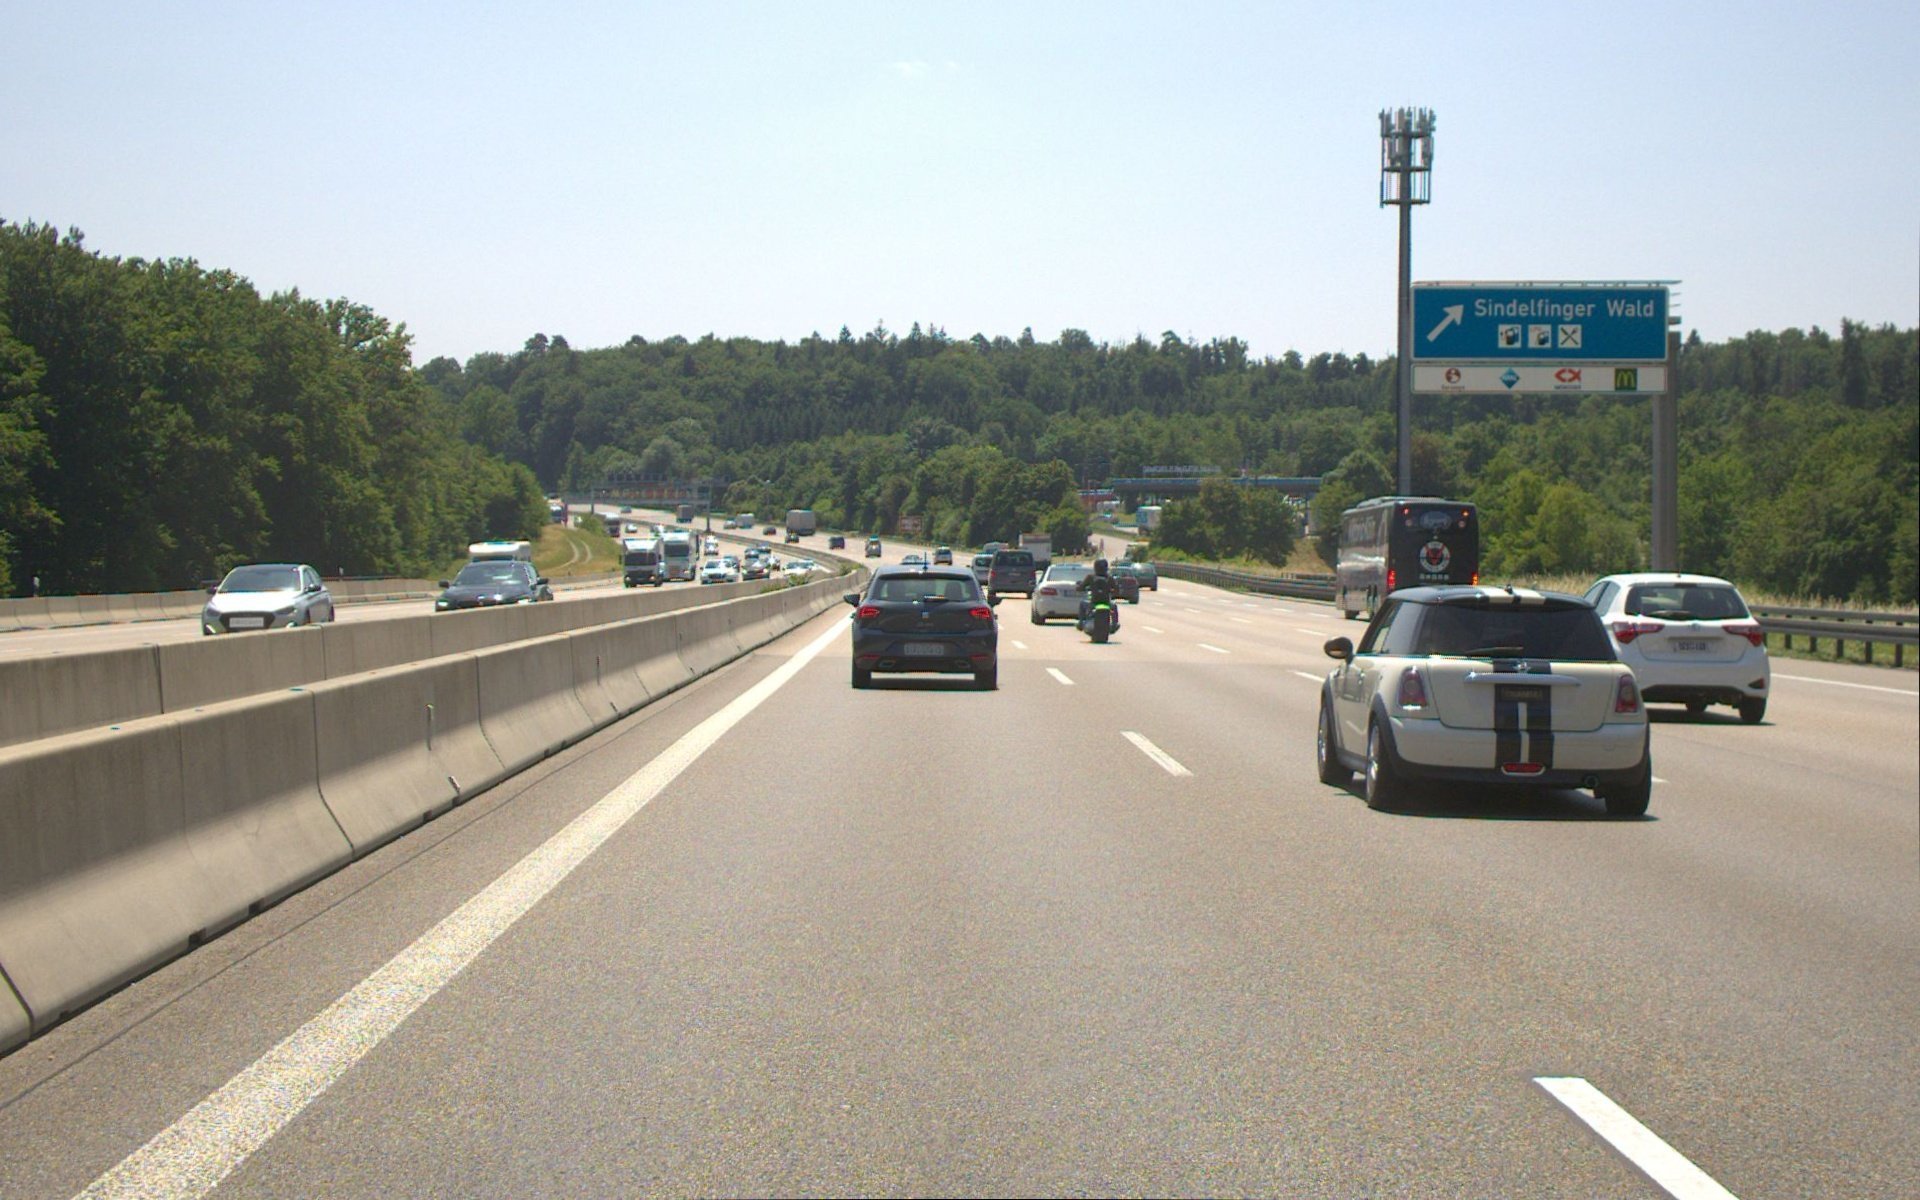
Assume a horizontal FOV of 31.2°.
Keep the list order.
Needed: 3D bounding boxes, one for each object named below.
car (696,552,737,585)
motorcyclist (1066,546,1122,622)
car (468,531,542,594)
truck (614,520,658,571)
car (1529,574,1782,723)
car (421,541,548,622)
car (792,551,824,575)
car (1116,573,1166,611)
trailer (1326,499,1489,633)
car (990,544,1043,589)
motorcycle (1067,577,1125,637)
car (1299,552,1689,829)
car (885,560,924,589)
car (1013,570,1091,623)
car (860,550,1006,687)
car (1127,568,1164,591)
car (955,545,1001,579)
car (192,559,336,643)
[{"bbox_3d":[-13.636,-1.769,192.970,1.993,1.781,5.319,-1,1,-1],"label":"car"},{"bbox_3d":[2.580,-0.313,66.188,0.962,1.432,1.235,-1,1,-2],"label":"motorcyclist"},{"bbox_3d":[-20.245,-1.675,153.405,2.221,2.650,8.175,-1,1,-1],"label":"car"},{"bbox_3d":[-22.820,-3.852,242.362,2.539,3.559,8.578,0,1,-1],"label":"truck"},{"bbox_3d":[7.237,0.461,36.163,1.666,1.428,4.376,1,1,-1],"label":"car"},{"bbox_3d":[-8.881,-0.364,64.529,1.838,1.436,4.845,0,1,-2],"label":"car"},{"bbox_3d":[-9.752,-2.370,220.688,1.848,1.518,5.319,-1,1,-1],"label":"car"},{"bbox_3d":[6.967,-0.323,132.638,1.675,1.427,3.685,0,1,-1],"label":"car"},{"bbox_3d":[12.997,-0.973,101.078,2.857,3.675,13.543,0,0,-1],"label":"trailer"},{"bbox_3d":[2.288,-1.377,140.198,2.097,1.845,4.081,0,1,0],"label":"car"},{"bbox_3d":[2.605,0.122,66.228,0.977,1.125,2.271,0,1,-1],"label":"motorcycle"},{"bbox_3d":[3.358,0.507,22.362,1.841,1.546,4.000,3,1,0],"label":"car"},{"bbox_3d":[-2.385,-1.100,147.063,1.536,1.208,3.460,0,1,-3],"label":"car"},{"bbox_3d":[2.246,-0.096,84.553,1.782,1.261,3.460,0,1,-1],"label":"car"},{"bbox_3d":[-0.314,0.182,40.875,1.624,1.482,3.685,1,1,0],"label":"car"},{"bbox_3d":[9.851,-1.087,182.751,1.608,1.208,3.460,0,1,-2],"label":"car"},{"bbox_3d":[0.930,-2.016,182.765,1.993,1.678,4.425,2,2,-5],"label":"car"},{"bbox_3d":[-12.285,-0.005,60.879,1.838,1.436,4.000,0,1,-2],"label":"car"}]
